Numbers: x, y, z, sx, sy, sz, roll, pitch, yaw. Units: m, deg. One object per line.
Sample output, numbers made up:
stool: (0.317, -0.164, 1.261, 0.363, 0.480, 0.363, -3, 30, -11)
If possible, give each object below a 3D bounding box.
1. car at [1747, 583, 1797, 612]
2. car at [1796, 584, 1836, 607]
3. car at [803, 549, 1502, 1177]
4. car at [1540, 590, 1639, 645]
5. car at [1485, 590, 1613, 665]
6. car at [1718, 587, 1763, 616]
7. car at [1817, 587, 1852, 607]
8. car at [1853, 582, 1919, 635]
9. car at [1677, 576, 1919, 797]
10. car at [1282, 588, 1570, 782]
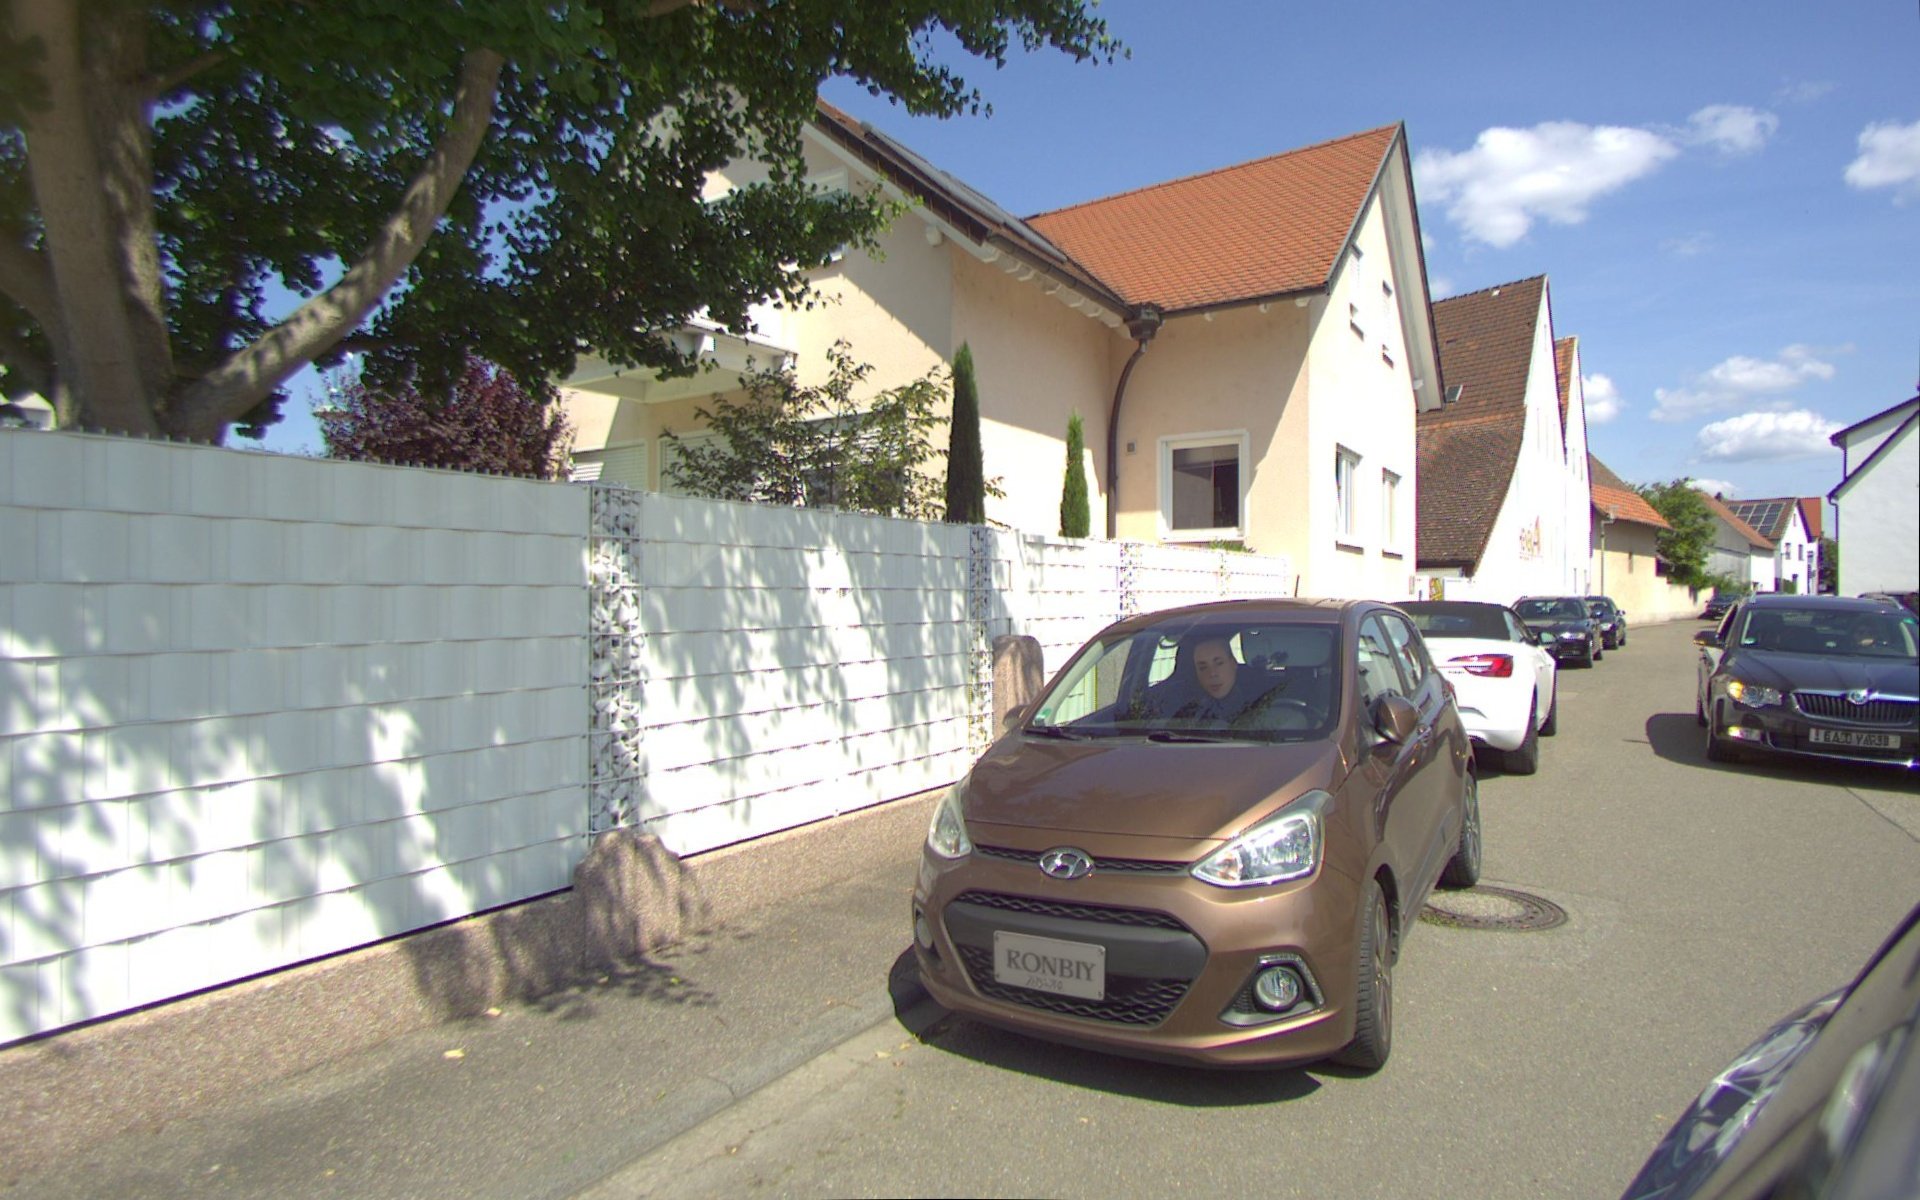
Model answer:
car: (49.508, -0.190, 61.654, 3.933, 1.630, 1.781, -1, -2, -43)
car: (63.995, -0.339, 75.630, 3.971, 1.520, 1.781, -1, -2, -43)
car: (1.289, 0.672, 4.669, 1.705, 1.552, 3.987, -4, -2, 33)
car: (17.552, 0.431, 28.121, 1.891, 1.382, 4.354, 0, 0, 38)
car: (12.678, 0.503, 21.635, 1.890, 1.382, 4.676, 0, 0, 36)
car: (42.900, 0.072, 55.592, 1.778, 1.498, 3.942, 1, 1, 40)
car: (72.478, -0.288, 83.864, 3.971, 1.520, 1.781, -1, -2, -43)
car: (27.704, 0.230, 29.560, 3.716, 1.474, 1.642, 0, -1, -36)
car: (7.879, 0.574, 9.354, 1.773, 1.555, 4.657, 0, 1, 32)
car: (4.863, 0.660, 10.130, 1.888, 1.447, 4.681, -3, -1, 33)
